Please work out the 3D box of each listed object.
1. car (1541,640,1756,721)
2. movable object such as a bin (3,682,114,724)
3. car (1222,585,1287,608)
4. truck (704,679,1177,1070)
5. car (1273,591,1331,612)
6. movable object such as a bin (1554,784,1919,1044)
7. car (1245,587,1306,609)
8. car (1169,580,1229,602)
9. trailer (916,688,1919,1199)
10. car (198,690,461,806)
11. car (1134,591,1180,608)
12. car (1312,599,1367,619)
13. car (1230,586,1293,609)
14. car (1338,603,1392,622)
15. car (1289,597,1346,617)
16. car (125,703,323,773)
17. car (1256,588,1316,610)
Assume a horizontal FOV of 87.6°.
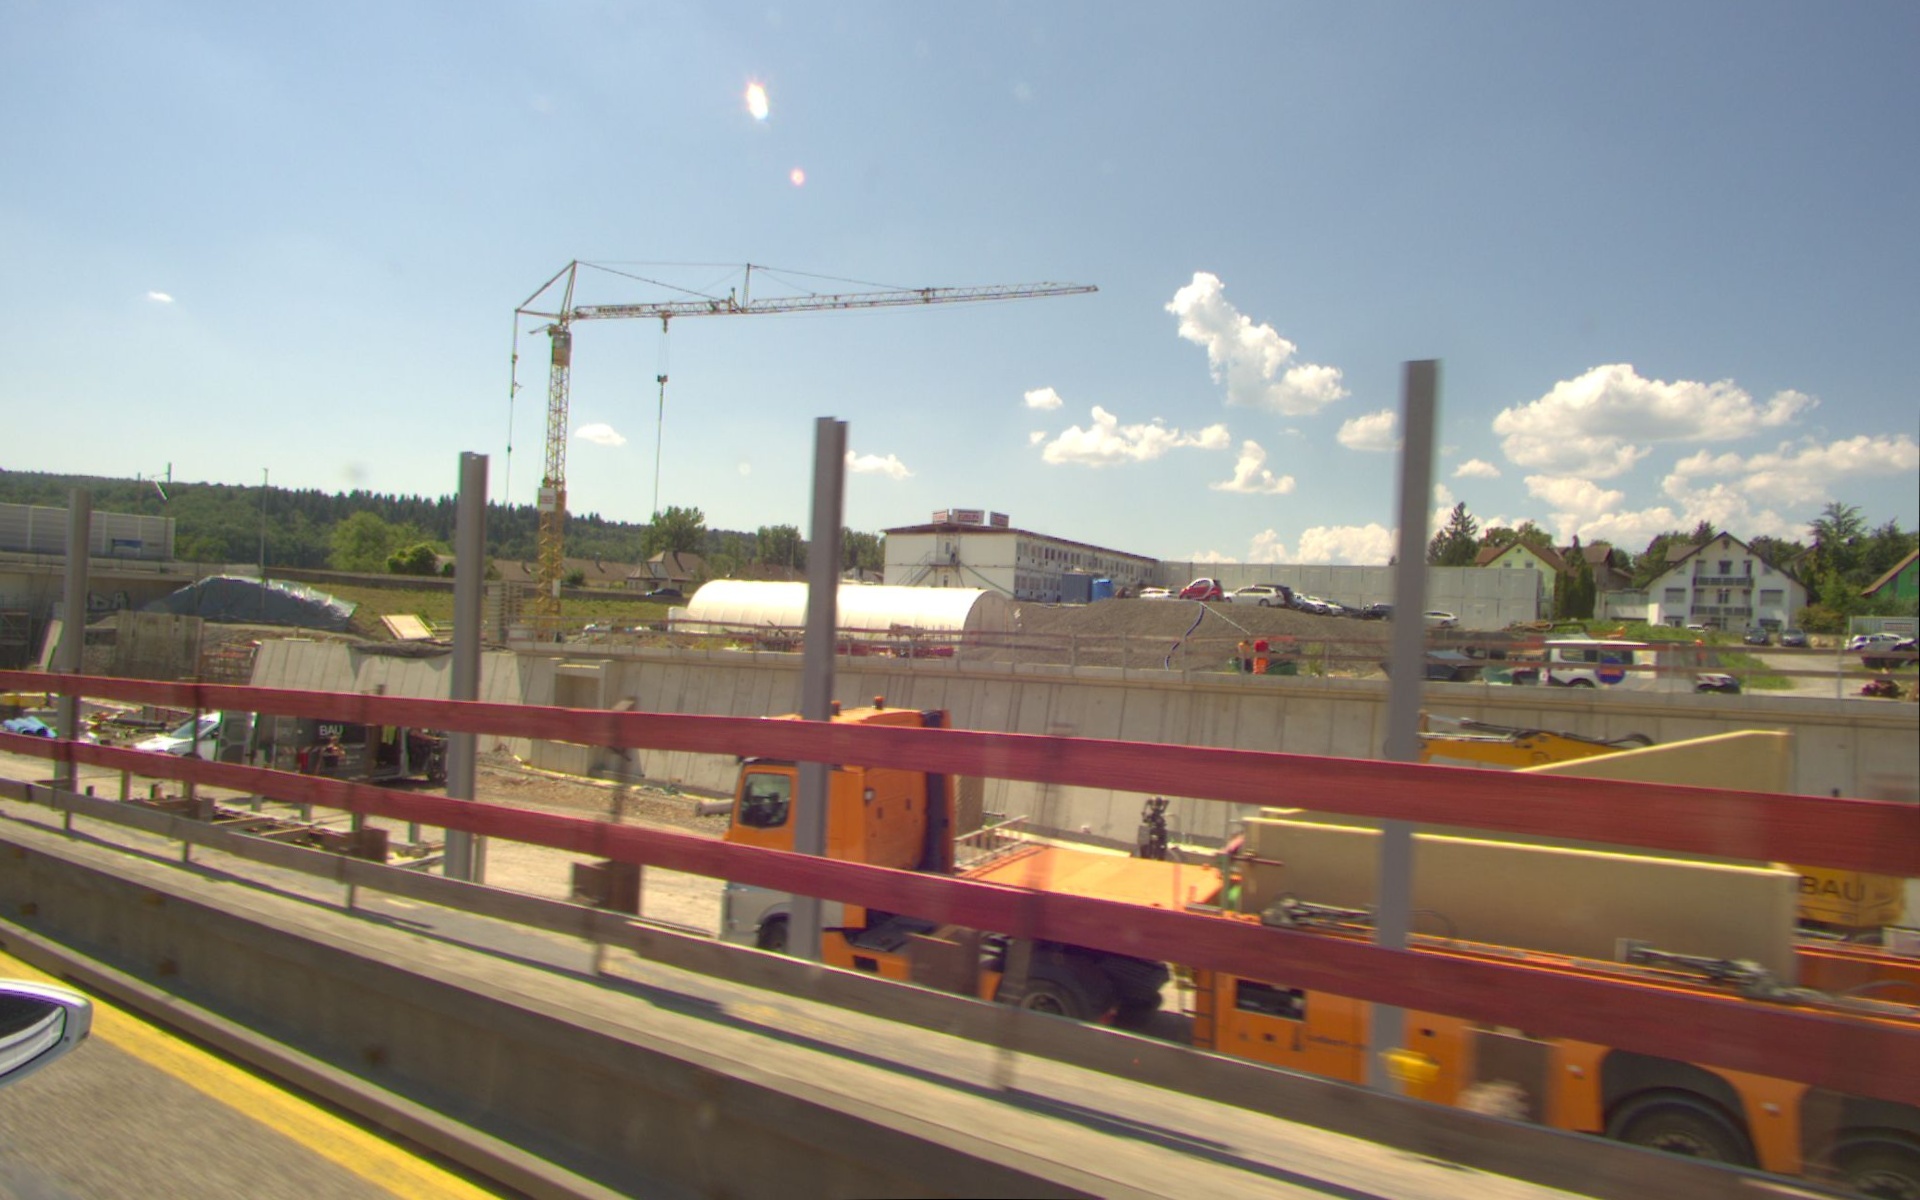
[{"bbox_3d":[19.146,2.179,28.141,4.749,2.039,1.805,0,-1,27],"label":"car"},{"bbox_3d":[-37.459,4.248,41.689,3.060,1.583,1.547,2,-1,-26],"label":"movable object such as a bin"},{"bbox_3d":[20.276,-0.231,68.980,4.013,1.537,1.679,0,-2,30],"label":"car"},{"bbox_3d":[-0.314,3.194,13.539,5.792,3.936,2.756,0,-1,30],"label":"truck"},{"bbox_3d":[26.408,0.122,77.306,4.013,1.537,1.712,0,-2,30],"label":"car"},{"bbox_3d":[12.350,4.799,16.098,4.748,3.061,2.279,0,-3,30],"label":"movable object such as a bin"},{"bbox_3d":[23.051,-0.106,73.276,4.013,1.537,1.679,0,-2,30],"label":"car"},{"bbox_3d":[15.008,-0.561,62.944,3.378,1.333,1.513,0,-2,30],"label":"car"},{"bbox_3d":[5.740,3.176,10.109,12.851,3.936,2.756,0,-1,30],"label":"trailer"},{"bbox_3d":[-17.832,4.062,28.830,2.484,2.617,6.102,2,-2,19],"label":"car"},{"bbox_3d":[16.056,-0.013,81.562,3.378,1.297,1.513,0,-2,30],"label":"car"},{"bbox_3d":[30.714,0.757,81.045,4.013,1.537,1.679,0,-2,30],"label":"car"},{"bbox_3d":[21.457,-0.168,71.247,4.013,1.537,1.679,0,-2,30],"label":"car"},{"bbox_3d":[34.143,1.039,84.467,4.013,1.537,1.679,0,-2,30],"label":"car"},{"bbox_3d":[28.324,0.580,79.371,4.013,1.537,1.679,0,-2,30],"label":"car"},{"bbox_3d":[-23.633,4.382,32.371,1.969,1.796,4.727,2,-2,29],"label":"car"},{"bbox_3d":[24.534,-0.050,75.324,4.013,1.537,1.707,0,-2,30],"label":"car"}]
